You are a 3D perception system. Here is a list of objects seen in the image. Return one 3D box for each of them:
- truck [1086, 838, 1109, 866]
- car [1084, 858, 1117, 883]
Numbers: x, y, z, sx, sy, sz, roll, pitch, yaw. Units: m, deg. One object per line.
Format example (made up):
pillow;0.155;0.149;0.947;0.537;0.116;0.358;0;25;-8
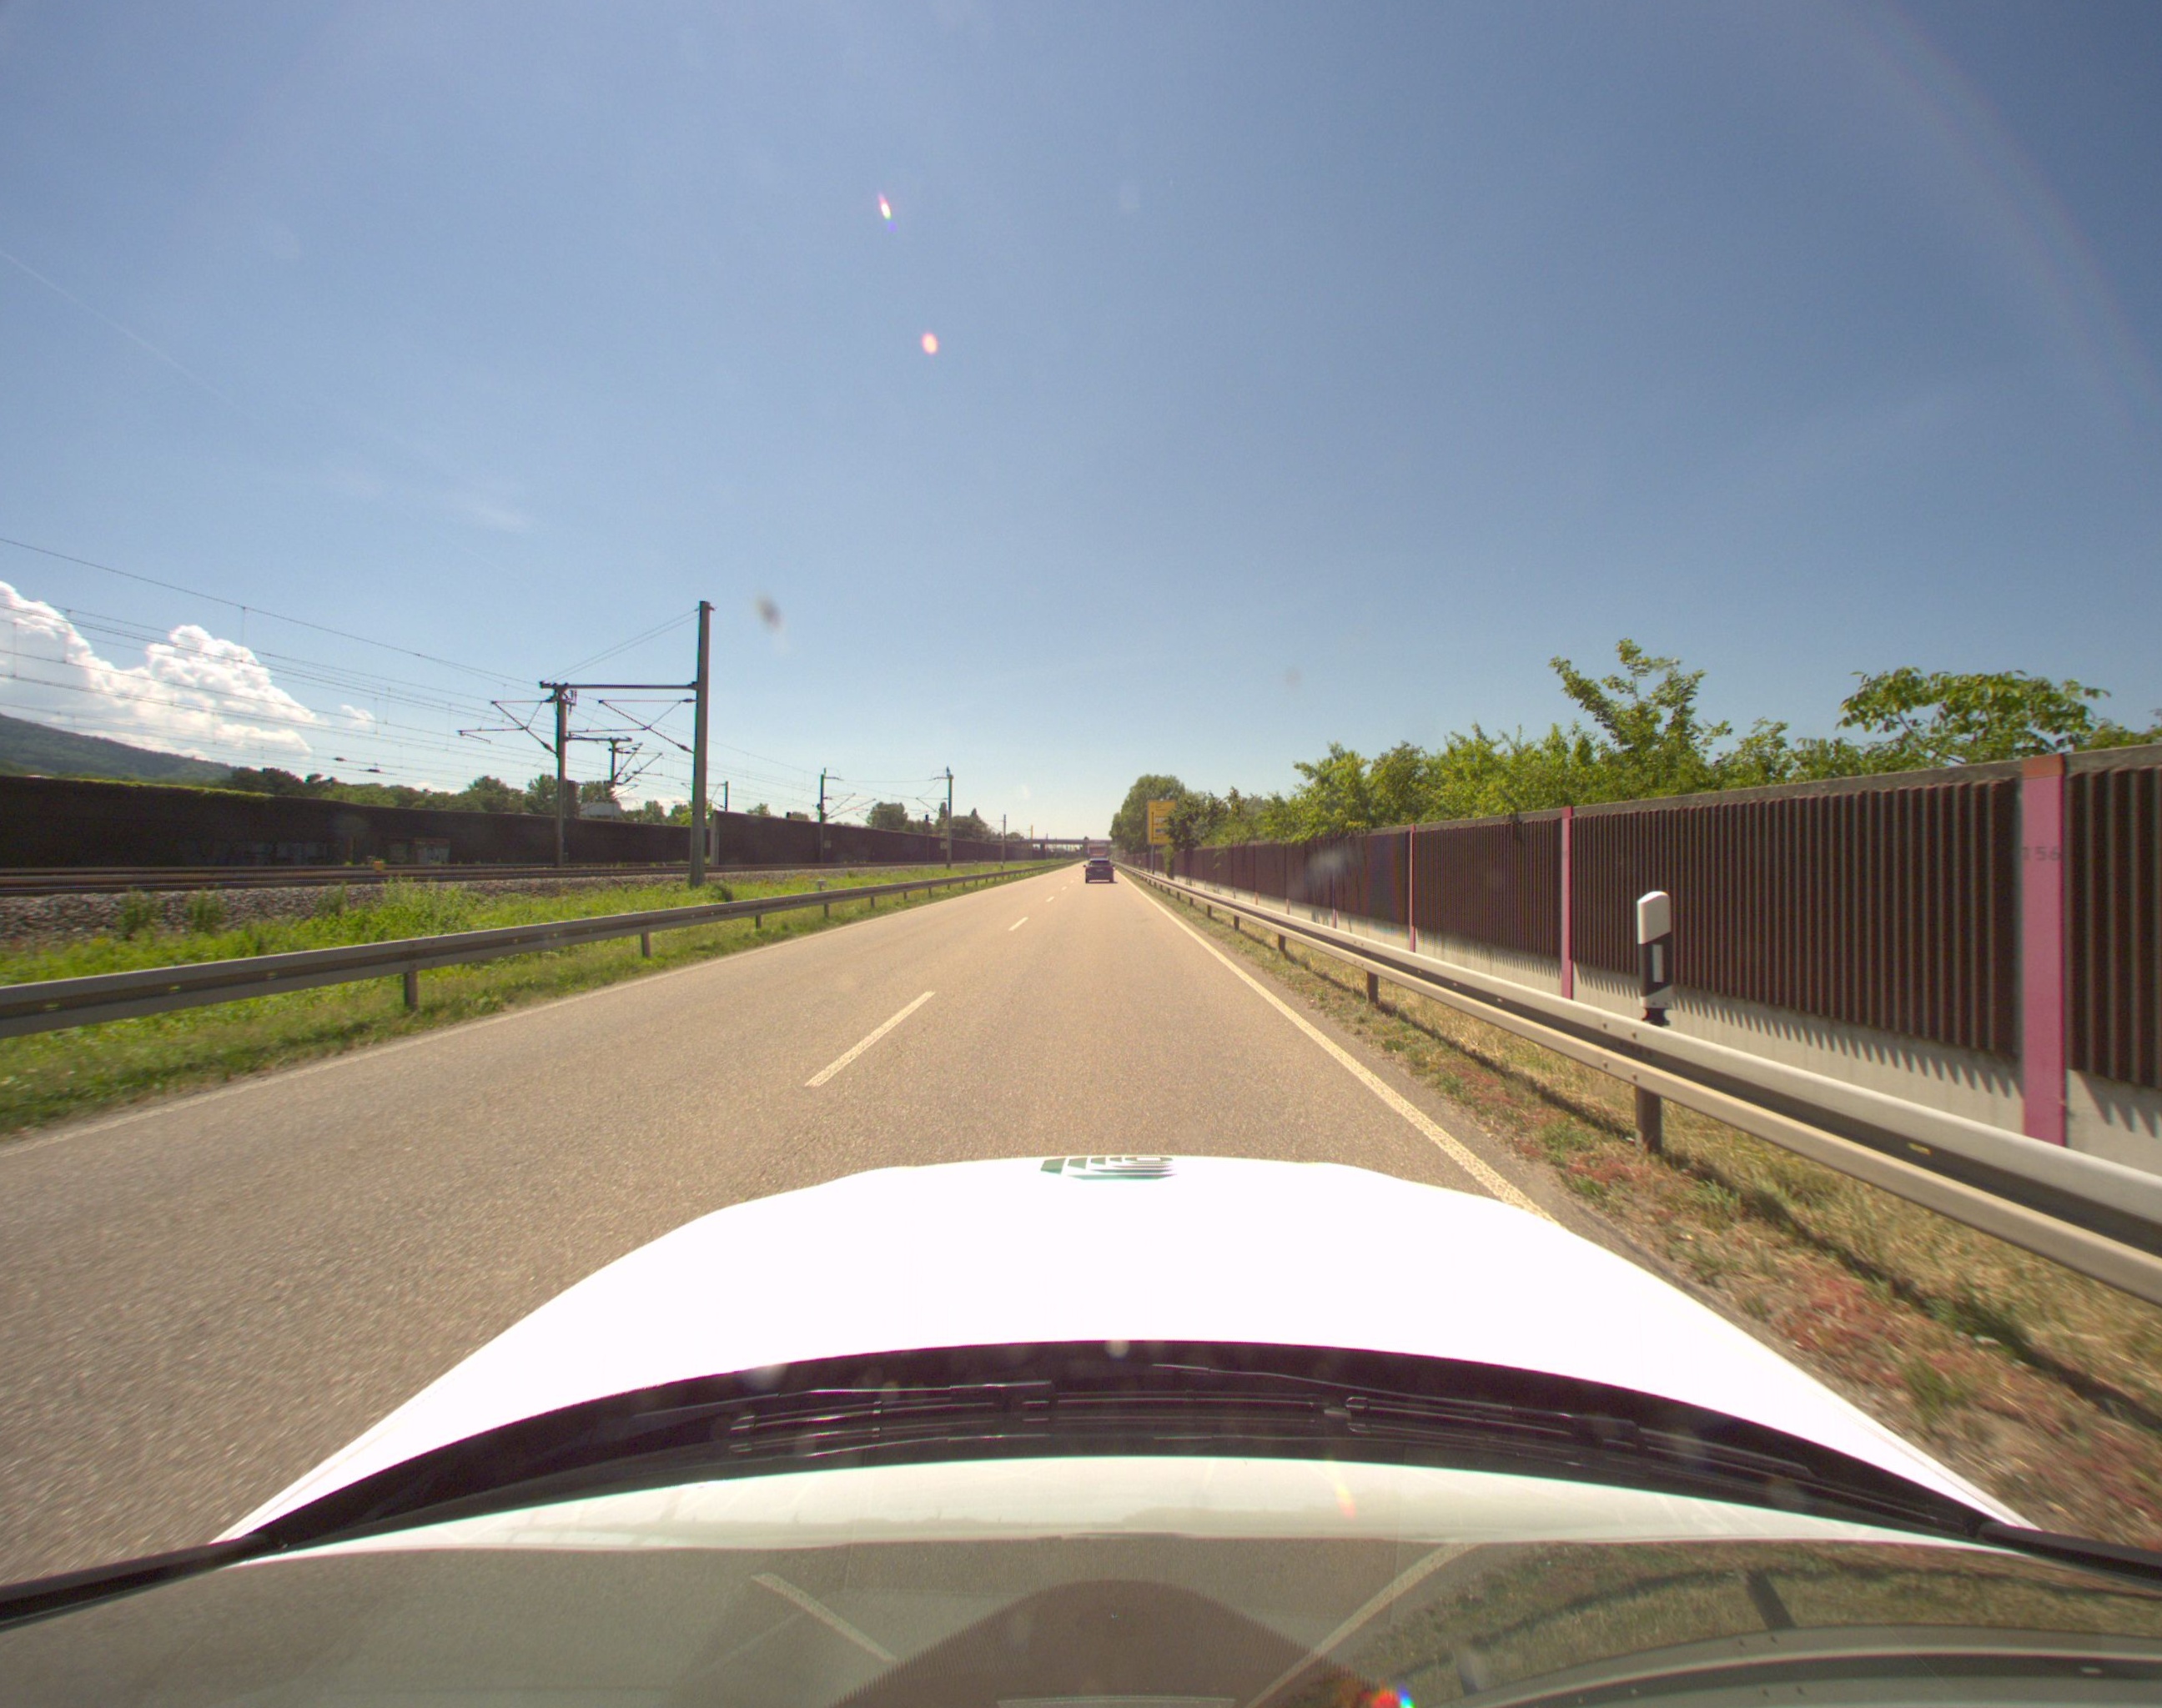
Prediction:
truck;2.171;-0.181;104.462;2.760;3.425;10.822;-1;0;2
car;1.225;1.018;52.286;1.987;1.508;3.999;-1;0;-1
